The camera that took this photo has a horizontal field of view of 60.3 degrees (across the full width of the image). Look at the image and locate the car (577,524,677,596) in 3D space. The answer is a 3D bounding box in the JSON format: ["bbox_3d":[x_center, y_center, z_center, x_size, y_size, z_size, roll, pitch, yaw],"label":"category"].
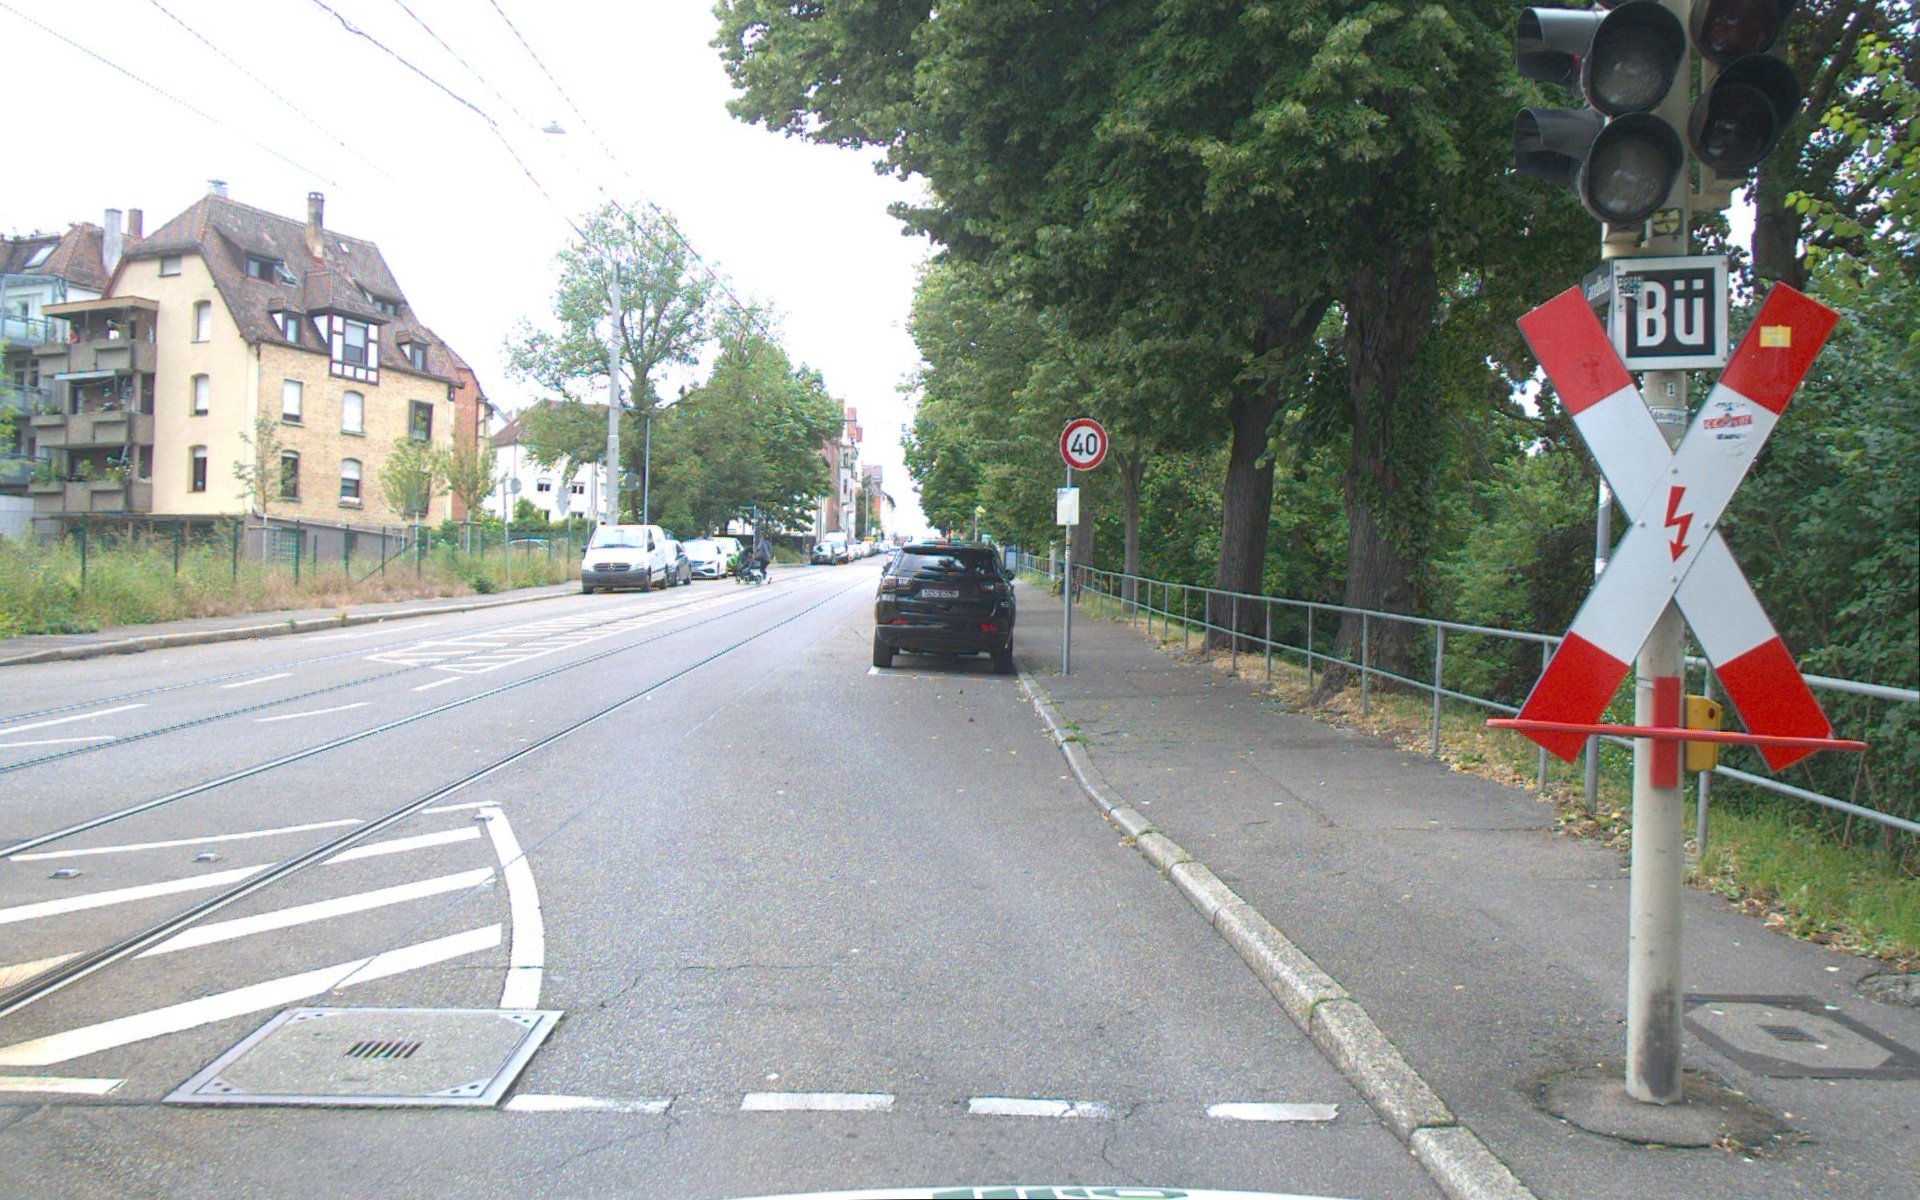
[{"bbox_3d":[-9.524,-1.144,47.704,1.995,1.914,4.884,-1,1,-2],"label":"car"}]

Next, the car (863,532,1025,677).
[{"bbox_3d":[-0.163,-0.016,21.998,1.865,1.643,4.601,2,2,1],"label":"car"}]

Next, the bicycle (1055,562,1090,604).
[{"bbox_3d":[2.782,-0.432,41.148,0.419,0.993,1.791,1,1,-10],"label":"bicycle"}]

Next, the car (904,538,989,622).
[{"bbox_3d":[-0.362,-0.504,37.683,1.692,1.659,4.087,5,2,-2],"label":"car"}]

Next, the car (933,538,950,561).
[{"bbox_3d":[-2.227,-5.983,195.775,1.953,2.619,4.705,1,1,0],"label":"car"}]

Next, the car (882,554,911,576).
[{"bbox_3d":[-4.658,-2.539,121.825,1.953,1.524,4.312,2,1,-1],"label":"car"}]

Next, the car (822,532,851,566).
[{"bbox_3d":[-10.612,-4.343,142.467,2.186,2.812,5.797,2,1,-3],"label":"car"}]

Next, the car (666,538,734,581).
[{"bbox_3d":[-9.660,-1.518,61.758,1.846,1.552,4.663,0,1,-1],"label":"car"}]

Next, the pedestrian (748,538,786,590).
[{"bbox_3d":[-6.310,-1.176,54.036,0.898,1.657,0.804,2,1,36],"label":"pedestrian"}]

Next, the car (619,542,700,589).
[{"bbox_3d":[-9.624,-1.143,53.292,1.857,1.457,4.511,0,2,-1],"label":"car"}]

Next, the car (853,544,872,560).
[{"bbox_3d":[-10.994,-5.400,186.290,1.885,1.629,4.000,2,1,0],"label":"car"}]

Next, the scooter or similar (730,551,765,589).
[{"bbox_3d":[-7.002,-0.994,54.493,0.823,1.217,0.804,2,1,36],"label":"scooter or similar"}]

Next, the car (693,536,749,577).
[{"bbox_3d":[-9.700,-1.768,67.421,1.688,1.607,4.181,0,2,0],"label":"car"}]

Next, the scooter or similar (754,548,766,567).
[{"bbox_3d":[-14.882,-3.152,122.947,0.677,1.362,1.639,2,1,0],"label":"scooter or similar"}]

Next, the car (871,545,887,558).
[{"bbox_3d":[-11.037,-6.604,225.806,1.953,1.629,4.000,2,1,-1],"label":"car"}]

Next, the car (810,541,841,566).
[{"bbox_3d":[-10.400,-3.587,127.988,1.952,1.839,4.001,2,1,1],"label":"car"}]

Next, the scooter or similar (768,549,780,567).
[{"bbox_3d":[-13.810,-3.119,122.959,0.677,1.362,1.639,2,1,0],"label":"scooter or similar"}]

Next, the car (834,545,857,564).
[{"bbox_3d":[-10.568,-4.168,152.789,1.954,1.628,4.310,2,1,-3],"label":"car"}]
